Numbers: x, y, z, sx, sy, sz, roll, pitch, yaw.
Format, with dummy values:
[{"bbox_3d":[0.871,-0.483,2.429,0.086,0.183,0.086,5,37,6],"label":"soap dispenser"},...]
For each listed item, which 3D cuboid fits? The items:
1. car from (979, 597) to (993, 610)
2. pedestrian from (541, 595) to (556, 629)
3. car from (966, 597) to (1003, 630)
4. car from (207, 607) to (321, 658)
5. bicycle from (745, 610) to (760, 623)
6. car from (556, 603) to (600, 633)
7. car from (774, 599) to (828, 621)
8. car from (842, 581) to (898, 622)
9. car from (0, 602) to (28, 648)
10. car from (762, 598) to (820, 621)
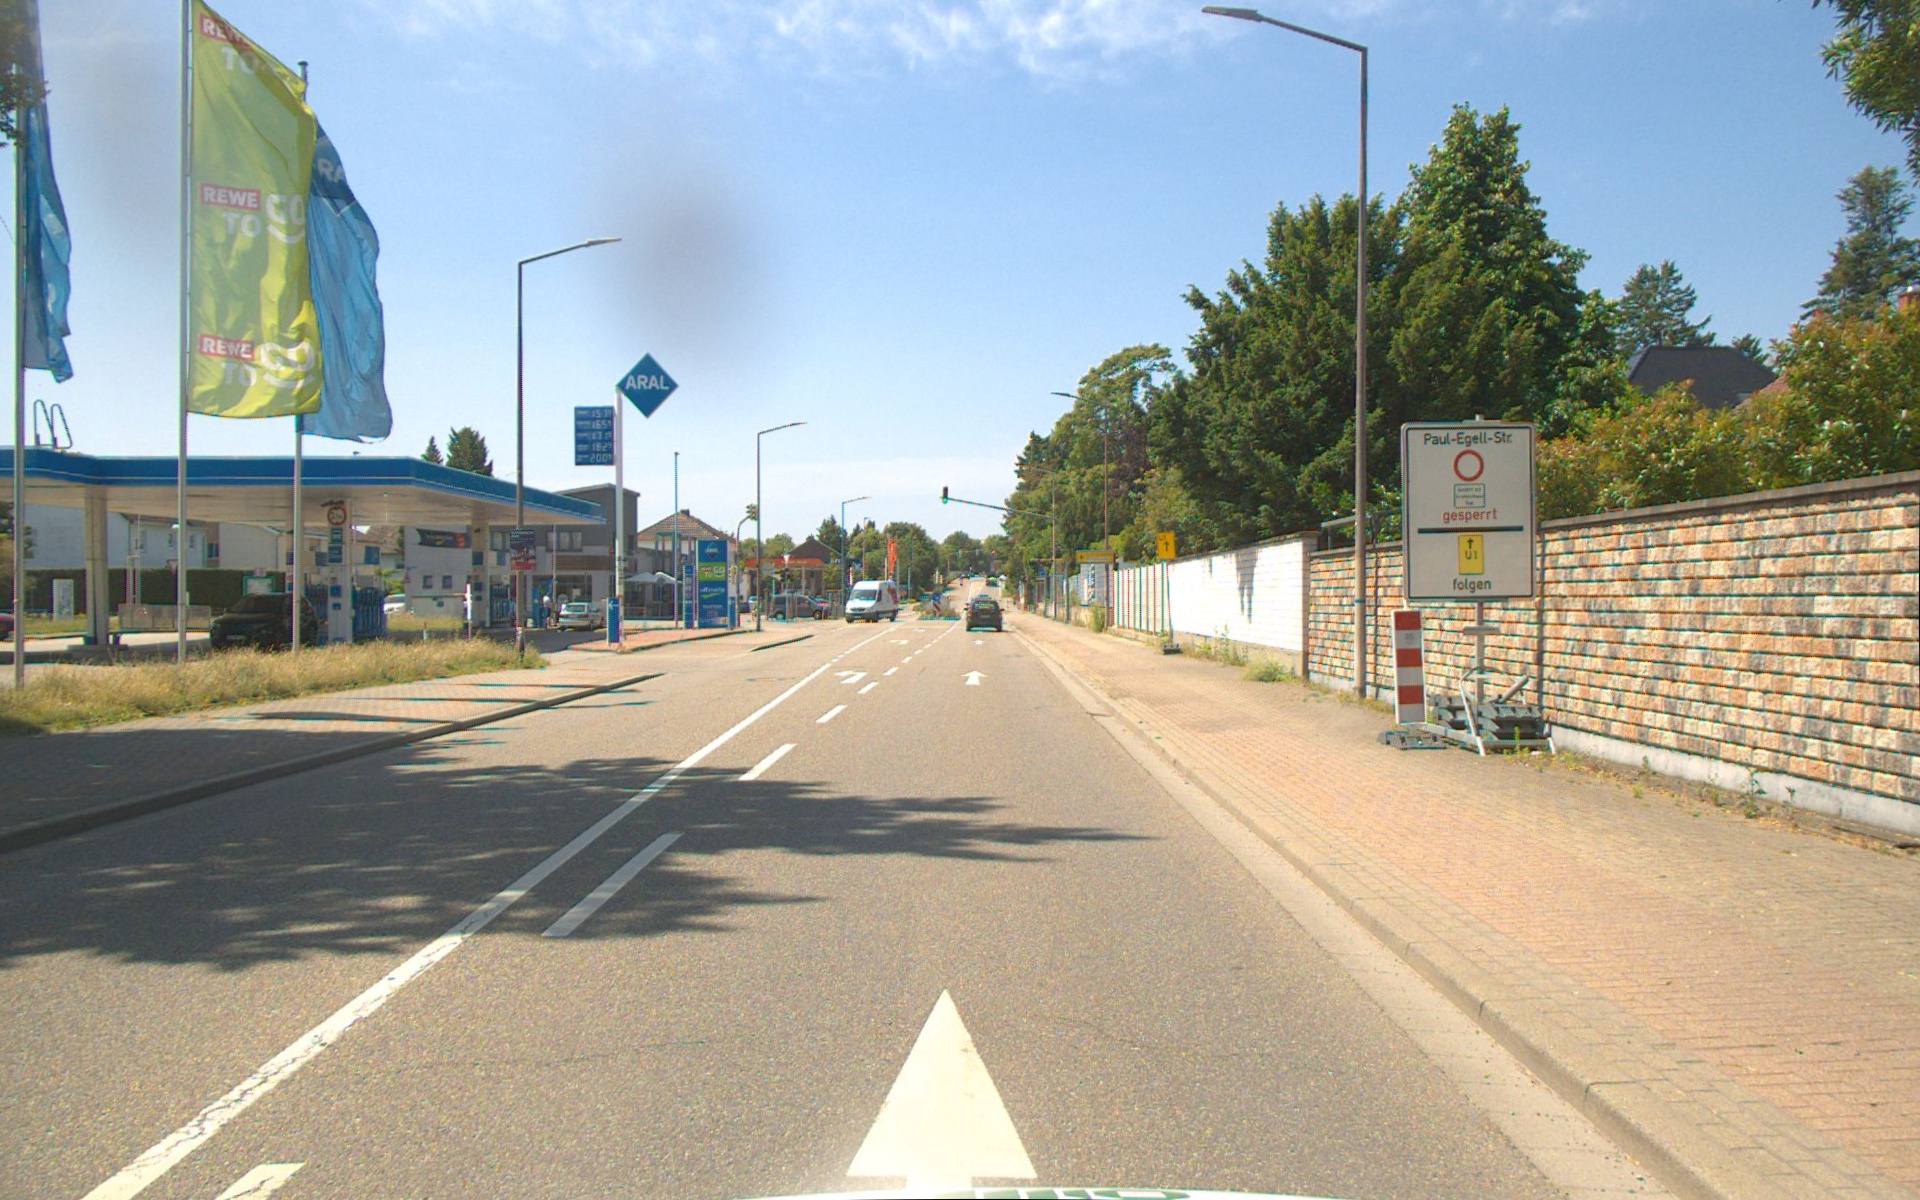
[{"bbox_3d":[3.118,0.393,198.918,1.631,1.481,3.472,-1,0,0],"label":"car"},{"bbox_3d":[-21.448,0.621,86.160,0.603,1.721,0.703,0,0,-26],"label":"pedestrian"},{"bbox_3d":[1.112,0.616,76.356,1.631,1.481,3.472,-1,0,0],"label":"car"},{"bbox_3d":[-20.576,0.940,49.054,1.635,1.406,4.000,-1,0,0],"label":"car"},{"bbox_3d":[-13.395,1.057,106.817,0.600,0.807,2.575,-1,0,0],"label":"bicycle"},{"bbox_3d":[-19.687,0.922,85.319,1.585,1.445,3.709,-2,0,-4],"label":"car"},{"bbox_3d":[-11.816,0.742,123.266,3.907,1.534,1.554,-1,0,-3],"label":"car"},{"bbox_3d":[-5.762,0.145,106.530,1.951,2.465,5.951,1,-1,14],"label":"car"},{"bbox_3d":[-34.071,0.858,56.105,3.912,1.562,1.672,-1,0,-8],"label":"car"},{"bbox_3d":[-11.803,0.674,115.707,3.907,1.534,1.554,-1,0,-3],"label":"car"}]
